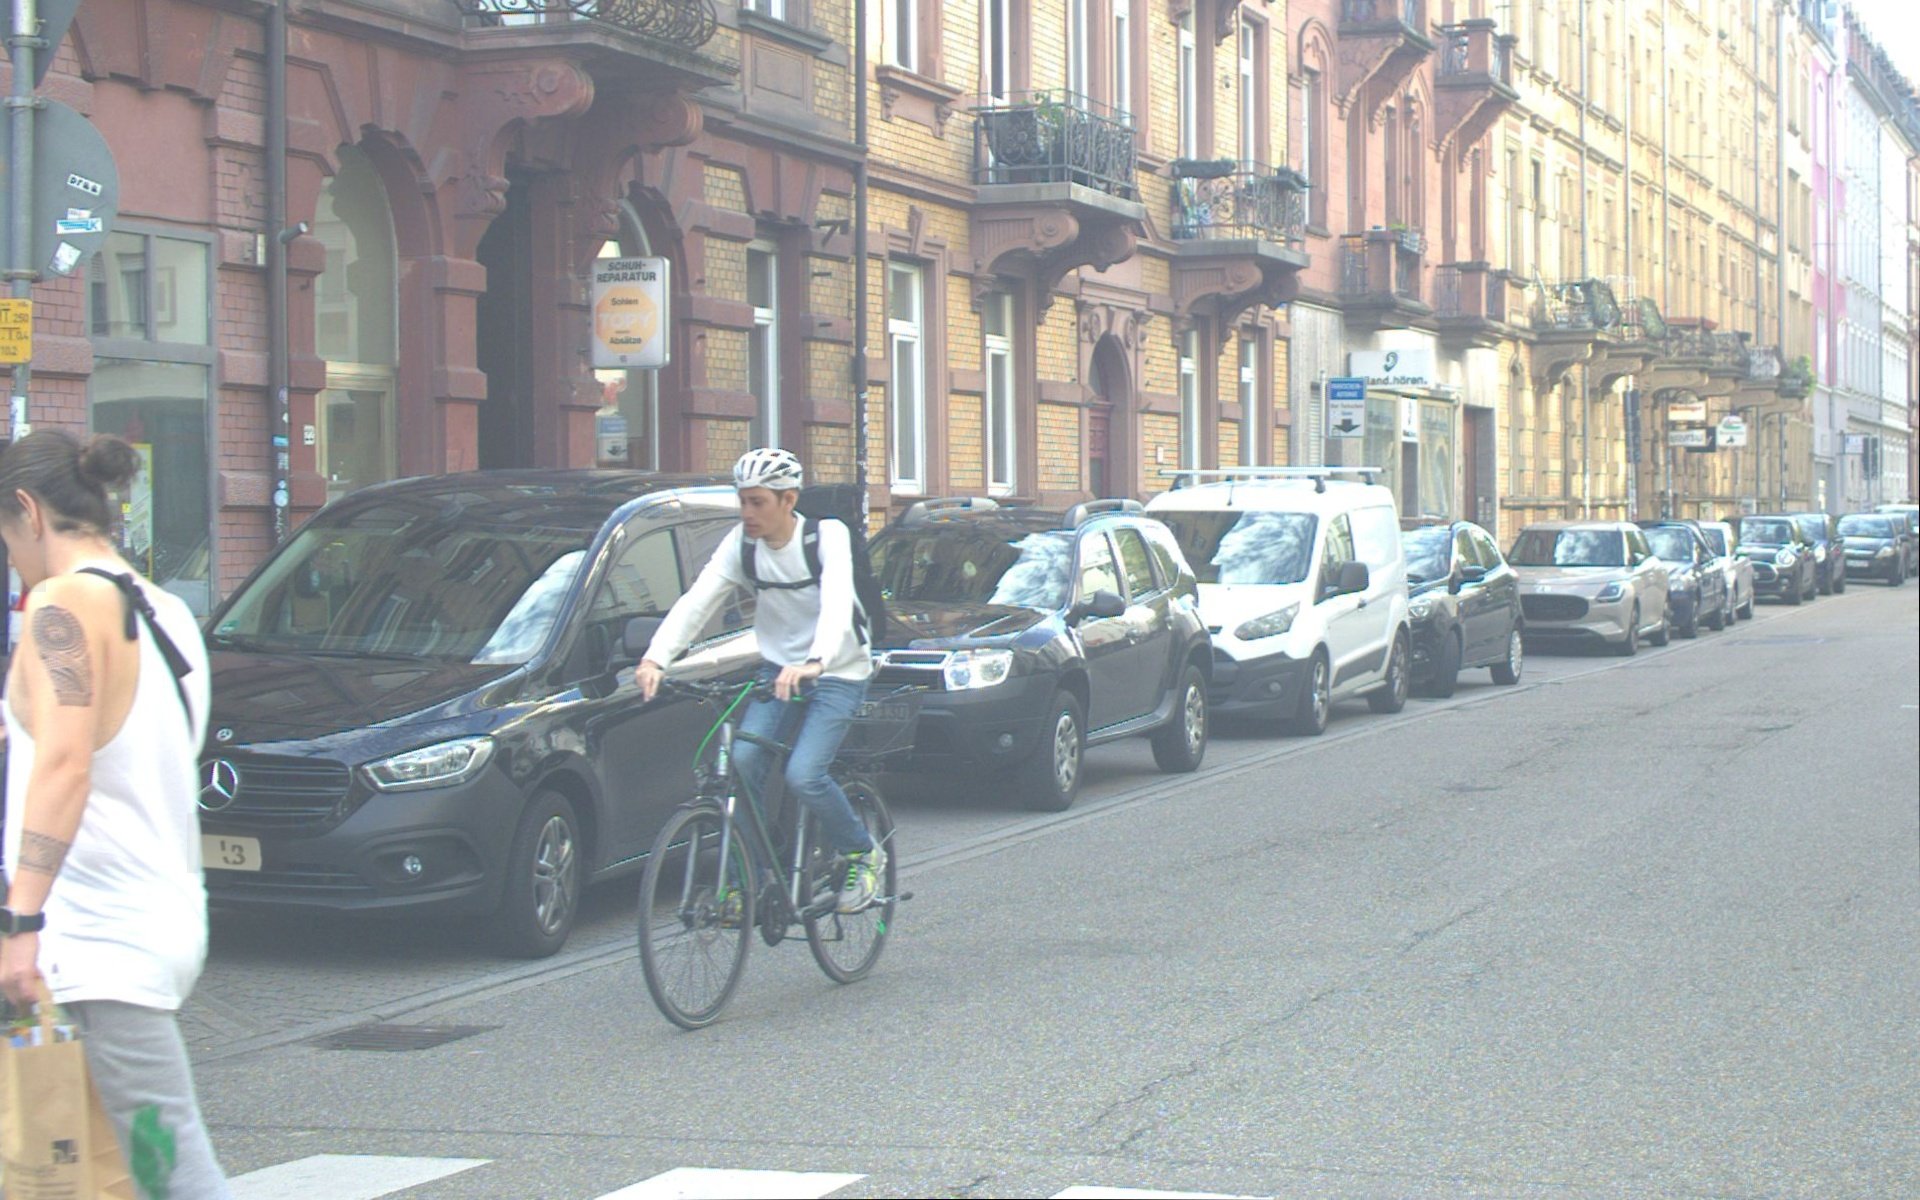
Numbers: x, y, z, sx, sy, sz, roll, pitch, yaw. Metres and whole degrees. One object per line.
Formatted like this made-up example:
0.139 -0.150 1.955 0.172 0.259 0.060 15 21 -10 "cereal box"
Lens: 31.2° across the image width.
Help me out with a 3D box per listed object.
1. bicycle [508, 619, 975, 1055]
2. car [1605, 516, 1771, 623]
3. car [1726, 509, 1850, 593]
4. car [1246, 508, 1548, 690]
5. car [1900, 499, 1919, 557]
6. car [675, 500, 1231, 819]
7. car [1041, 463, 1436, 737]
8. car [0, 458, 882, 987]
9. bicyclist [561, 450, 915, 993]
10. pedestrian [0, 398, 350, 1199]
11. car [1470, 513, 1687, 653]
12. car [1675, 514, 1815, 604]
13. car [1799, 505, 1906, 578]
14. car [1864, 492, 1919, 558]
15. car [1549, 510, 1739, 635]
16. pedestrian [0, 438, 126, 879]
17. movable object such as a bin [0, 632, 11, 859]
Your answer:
-0.657 0.719 11.285 0.701 1.216 2.115 -2 1 20 "bicycle"
10.198 -0.444 47.979 1.692 1.382 3.863 2 2 20 "car"
14.974 -0.889 62.052 1.692 1.432 3.863 2 2 20 "car"
3.977 -0.029 30.783 1.743 1.478 3.979 2 1 21 "car"
26.892 -1.975 94.569 1.692 1.544 3.863 2 2 19 "car"
0.091 0.241 19.983 1.995 1.632 4.142 1 2 19 "car"
2.192 -0.076 25.789 1.921 1.865 4.433 1 2 19 "car"
-1.924 0.350 14.083 1.761 1.767 4.402 2 2 19 "car"
-0.703 0.369 11.211 0.701 1.672 1.111 -2 1 20 "bicyclist"
-1.506 0.533 5.448 1.019 1.665 0.804 -1 0 -7 "pedestrian"
7.156 -0.226 39.482 1.743 1.478 3.979 2 2 20 "car"
12.845 -0.687 56.127 1.692 1.382 3.863 2 2 20 "car"
18.631 -1.226 71.664 1.692 1.364 3.863 5 3 20 "car"
22.960 -1.821 83.215 1.692 1.544 3.863 2 2 20 "car"
8.783 -0.373 43.930 1.743 1.478 3.979 2 2 20 "car"
-4.135 0.222 14.840 0.677 1.834 0.857 2 2 15 "pedestrian"
-3.252 0.463 10.700 0.383 0.711 0.475 1 2 16 "movable object such as a bin"
